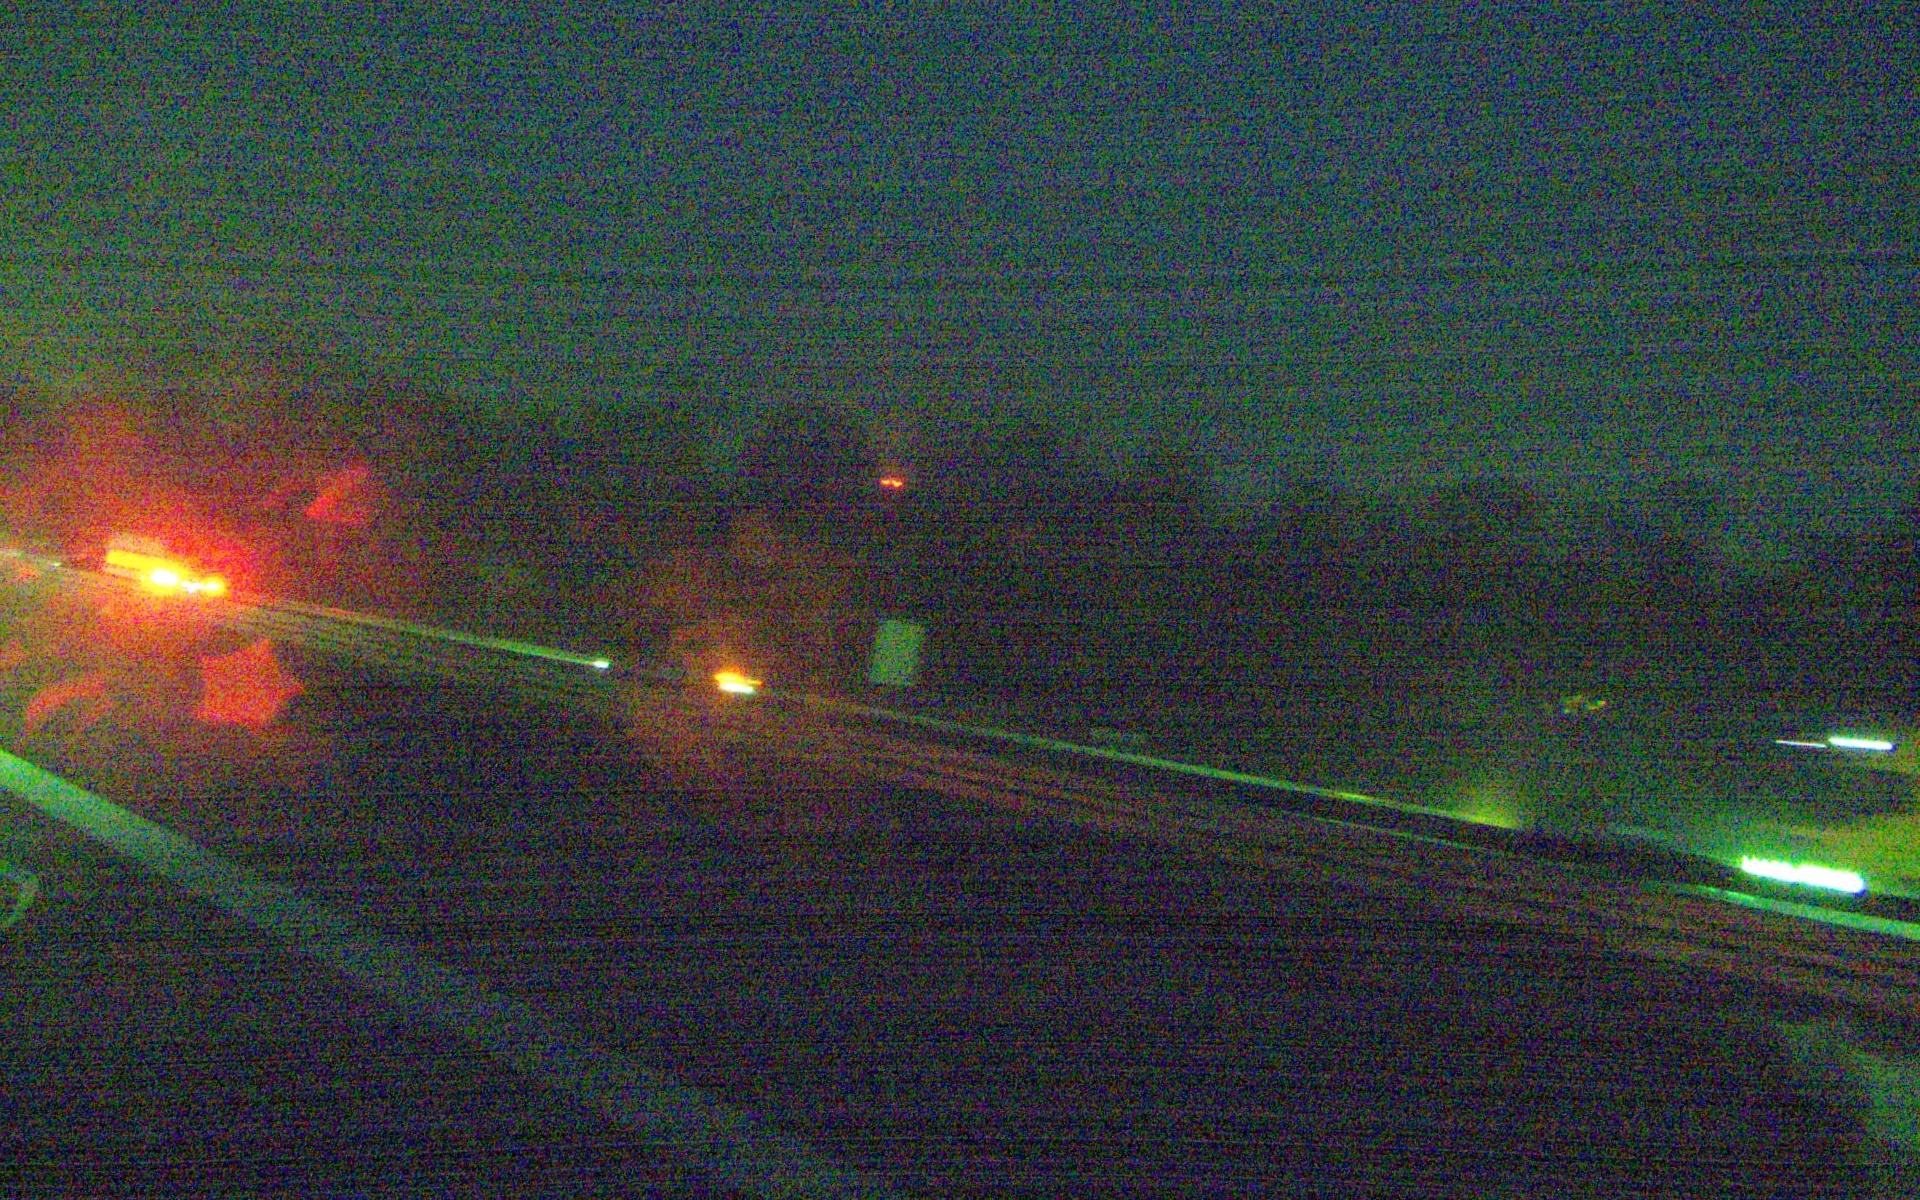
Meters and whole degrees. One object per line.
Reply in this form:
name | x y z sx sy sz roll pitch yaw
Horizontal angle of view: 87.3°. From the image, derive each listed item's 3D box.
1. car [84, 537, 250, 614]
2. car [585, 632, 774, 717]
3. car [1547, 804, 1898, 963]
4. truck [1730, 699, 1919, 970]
car | -22.001 -0.679 27.894 4.262 1.464 2.001 6 -4 30
car | -7.246 1.935 26.088 4.246 1.501 1.799 8 -4 17
car | 11.746 4.342 15.799 3.915 1.309 1.714 8 -1 14
truck | 18.072 4.301 17.867 6.077 4.273 2.769 5 -1 16
